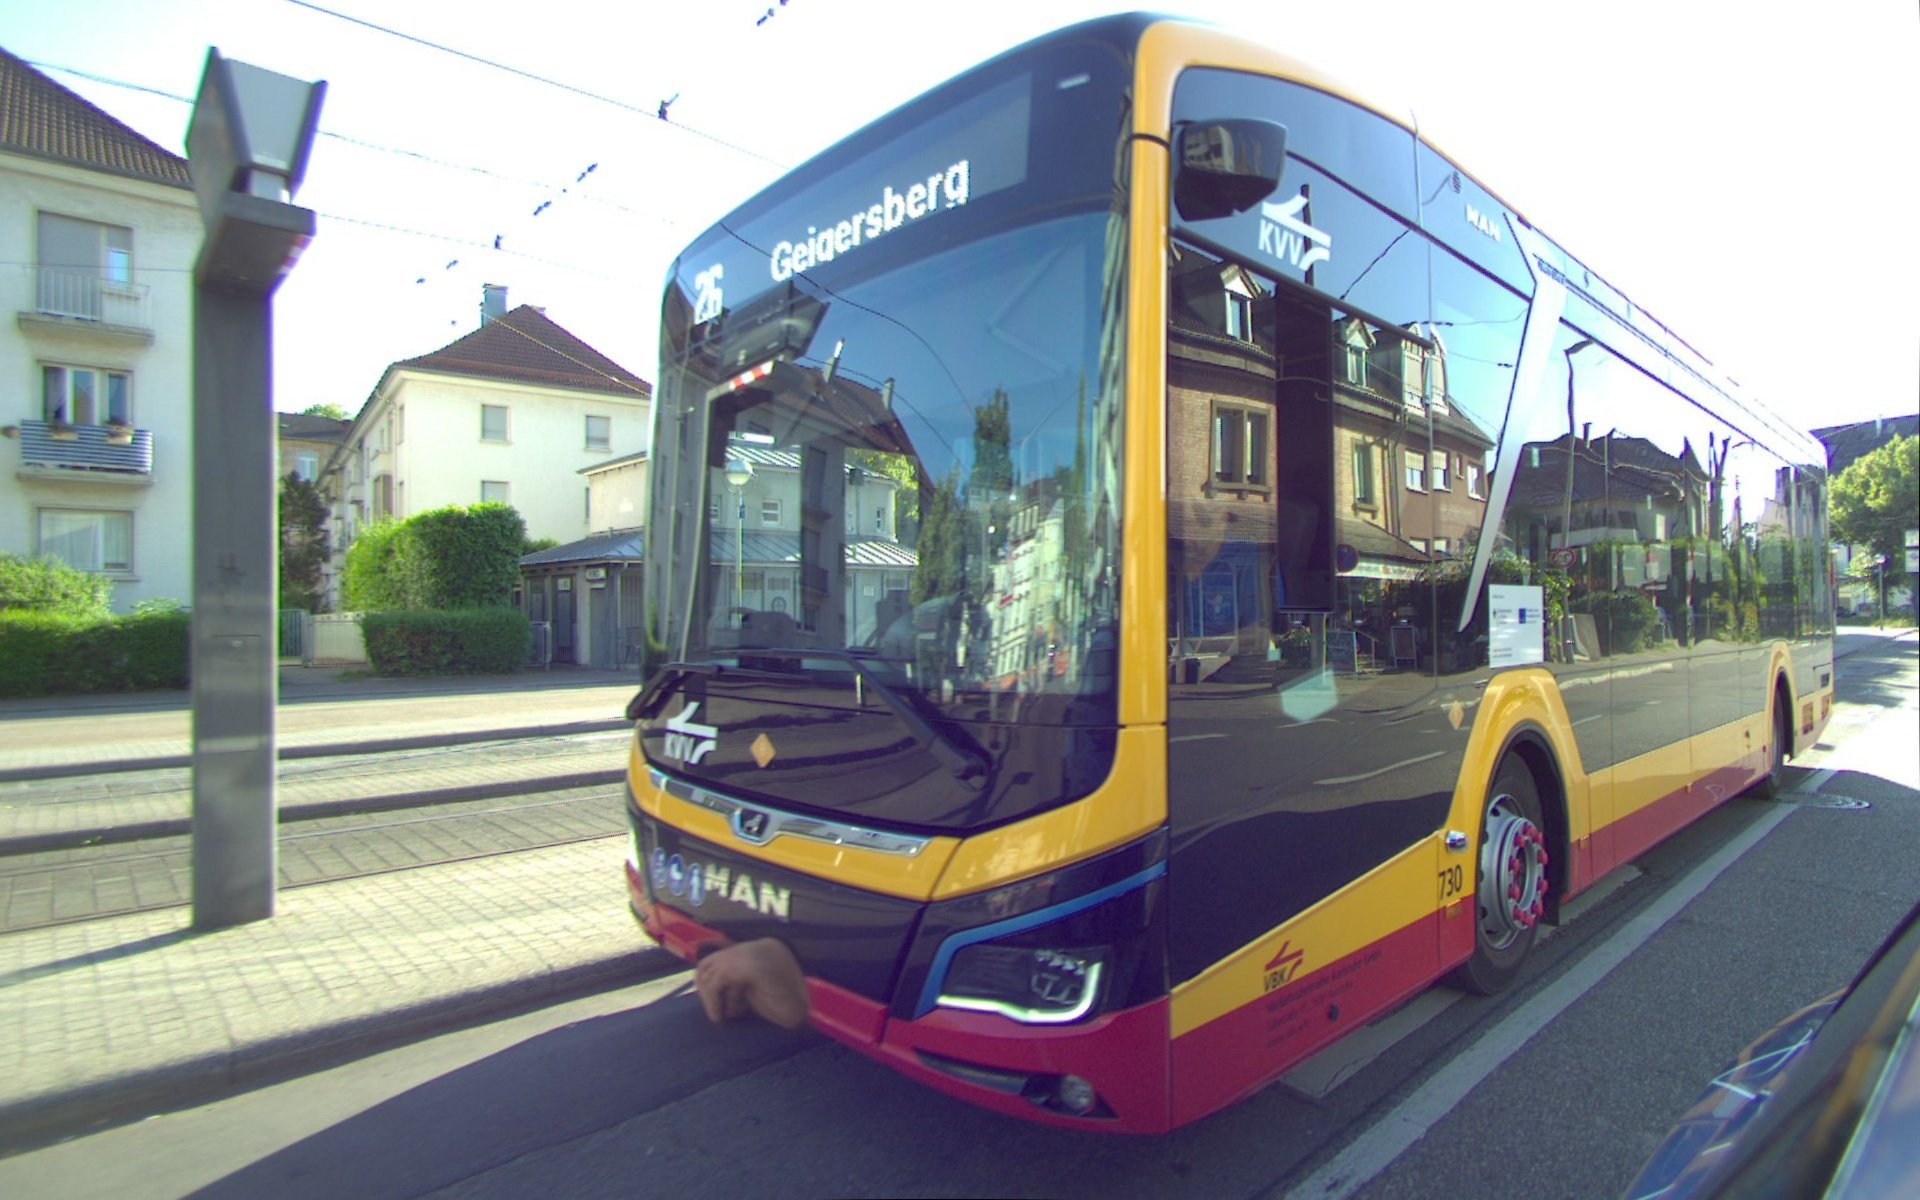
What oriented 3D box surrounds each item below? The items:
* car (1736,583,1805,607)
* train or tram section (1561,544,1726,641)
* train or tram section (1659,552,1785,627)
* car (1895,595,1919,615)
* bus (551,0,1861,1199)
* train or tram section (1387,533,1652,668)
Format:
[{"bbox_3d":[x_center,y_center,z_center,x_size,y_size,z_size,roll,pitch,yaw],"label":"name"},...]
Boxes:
[{"bbox_3d":[71.498,-0.443,89.347,1.958,1.981,4.280,0,0,-23],"label":"car"},{"bbox_3d":[29.318,-0.407,42.995,13.239,3.578,2.960,-1,1,-43],"label":"train or tram section"},{"bbox_3d":[40.443,-0.492,53.336,15.675,3.465,2.959,0,0,-44],"label":"train or tram section"},{"bbox_3d":[75.089,0.365,78.033,1.574,1.481,4.212,-1,-2,-11],"label":"car"},{"bbox_3d":[3.640,-0.249,6.960,11.814,3.460,2.691,0,-1,-43],"label":"bus"},{"bbox_3d":[18.951,-0.147,33.266,15.703,3.578,2.960,-1,1,-43],"label":"train or tram section"}]
